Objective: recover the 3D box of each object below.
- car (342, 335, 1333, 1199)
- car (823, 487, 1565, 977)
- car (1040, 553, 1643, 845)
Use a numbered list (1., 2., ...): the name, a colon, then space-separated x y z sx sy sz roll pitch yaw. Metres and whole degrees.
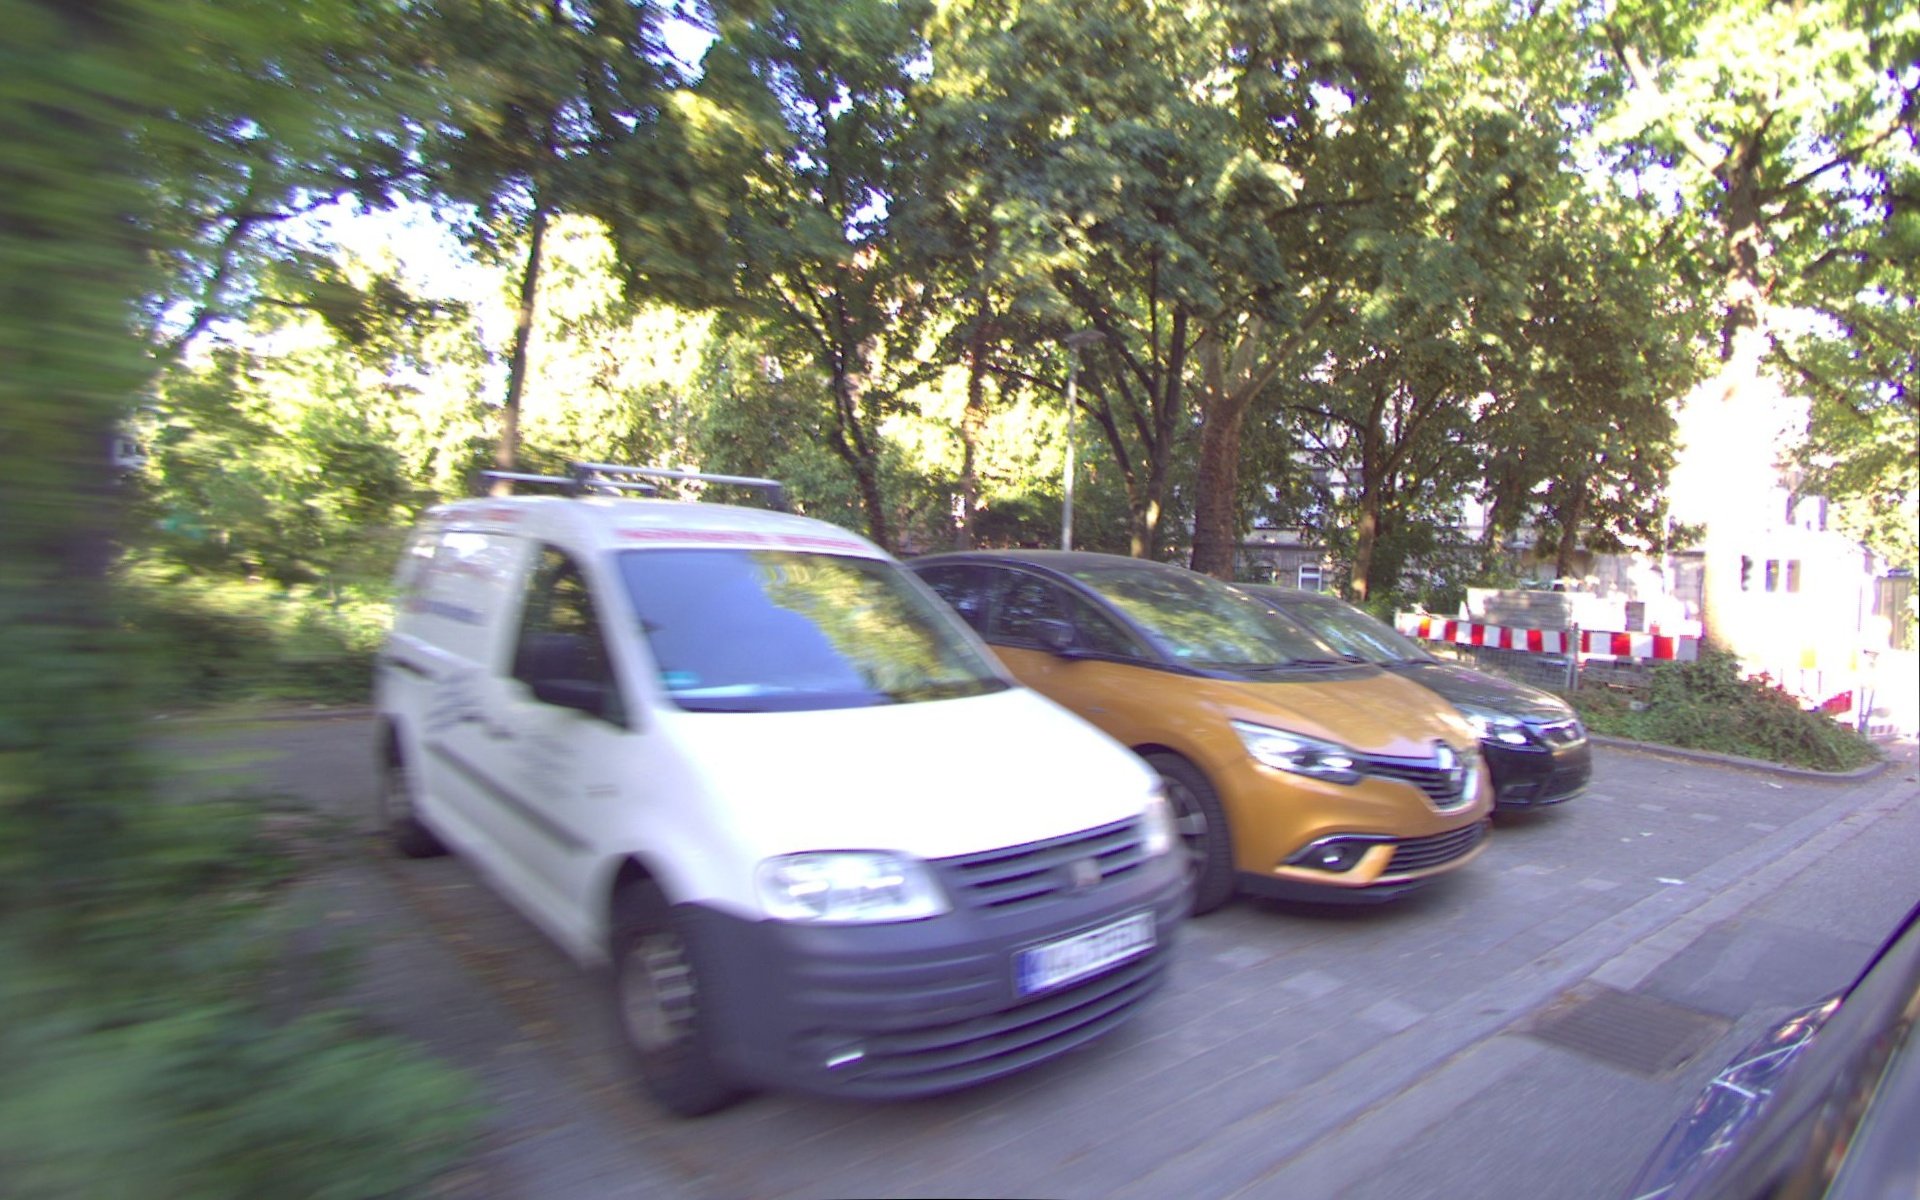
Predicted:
1. car: -1.103 0.313 4.318 1.840 1.948 4.682 1 4 -41
2. car: 0.947 0.462 5.827 1.765 1.780 3.999 1 0 -36
3. car: 2.684 0.535 7.784 1.769 1.648 3.991 0 0 -43
